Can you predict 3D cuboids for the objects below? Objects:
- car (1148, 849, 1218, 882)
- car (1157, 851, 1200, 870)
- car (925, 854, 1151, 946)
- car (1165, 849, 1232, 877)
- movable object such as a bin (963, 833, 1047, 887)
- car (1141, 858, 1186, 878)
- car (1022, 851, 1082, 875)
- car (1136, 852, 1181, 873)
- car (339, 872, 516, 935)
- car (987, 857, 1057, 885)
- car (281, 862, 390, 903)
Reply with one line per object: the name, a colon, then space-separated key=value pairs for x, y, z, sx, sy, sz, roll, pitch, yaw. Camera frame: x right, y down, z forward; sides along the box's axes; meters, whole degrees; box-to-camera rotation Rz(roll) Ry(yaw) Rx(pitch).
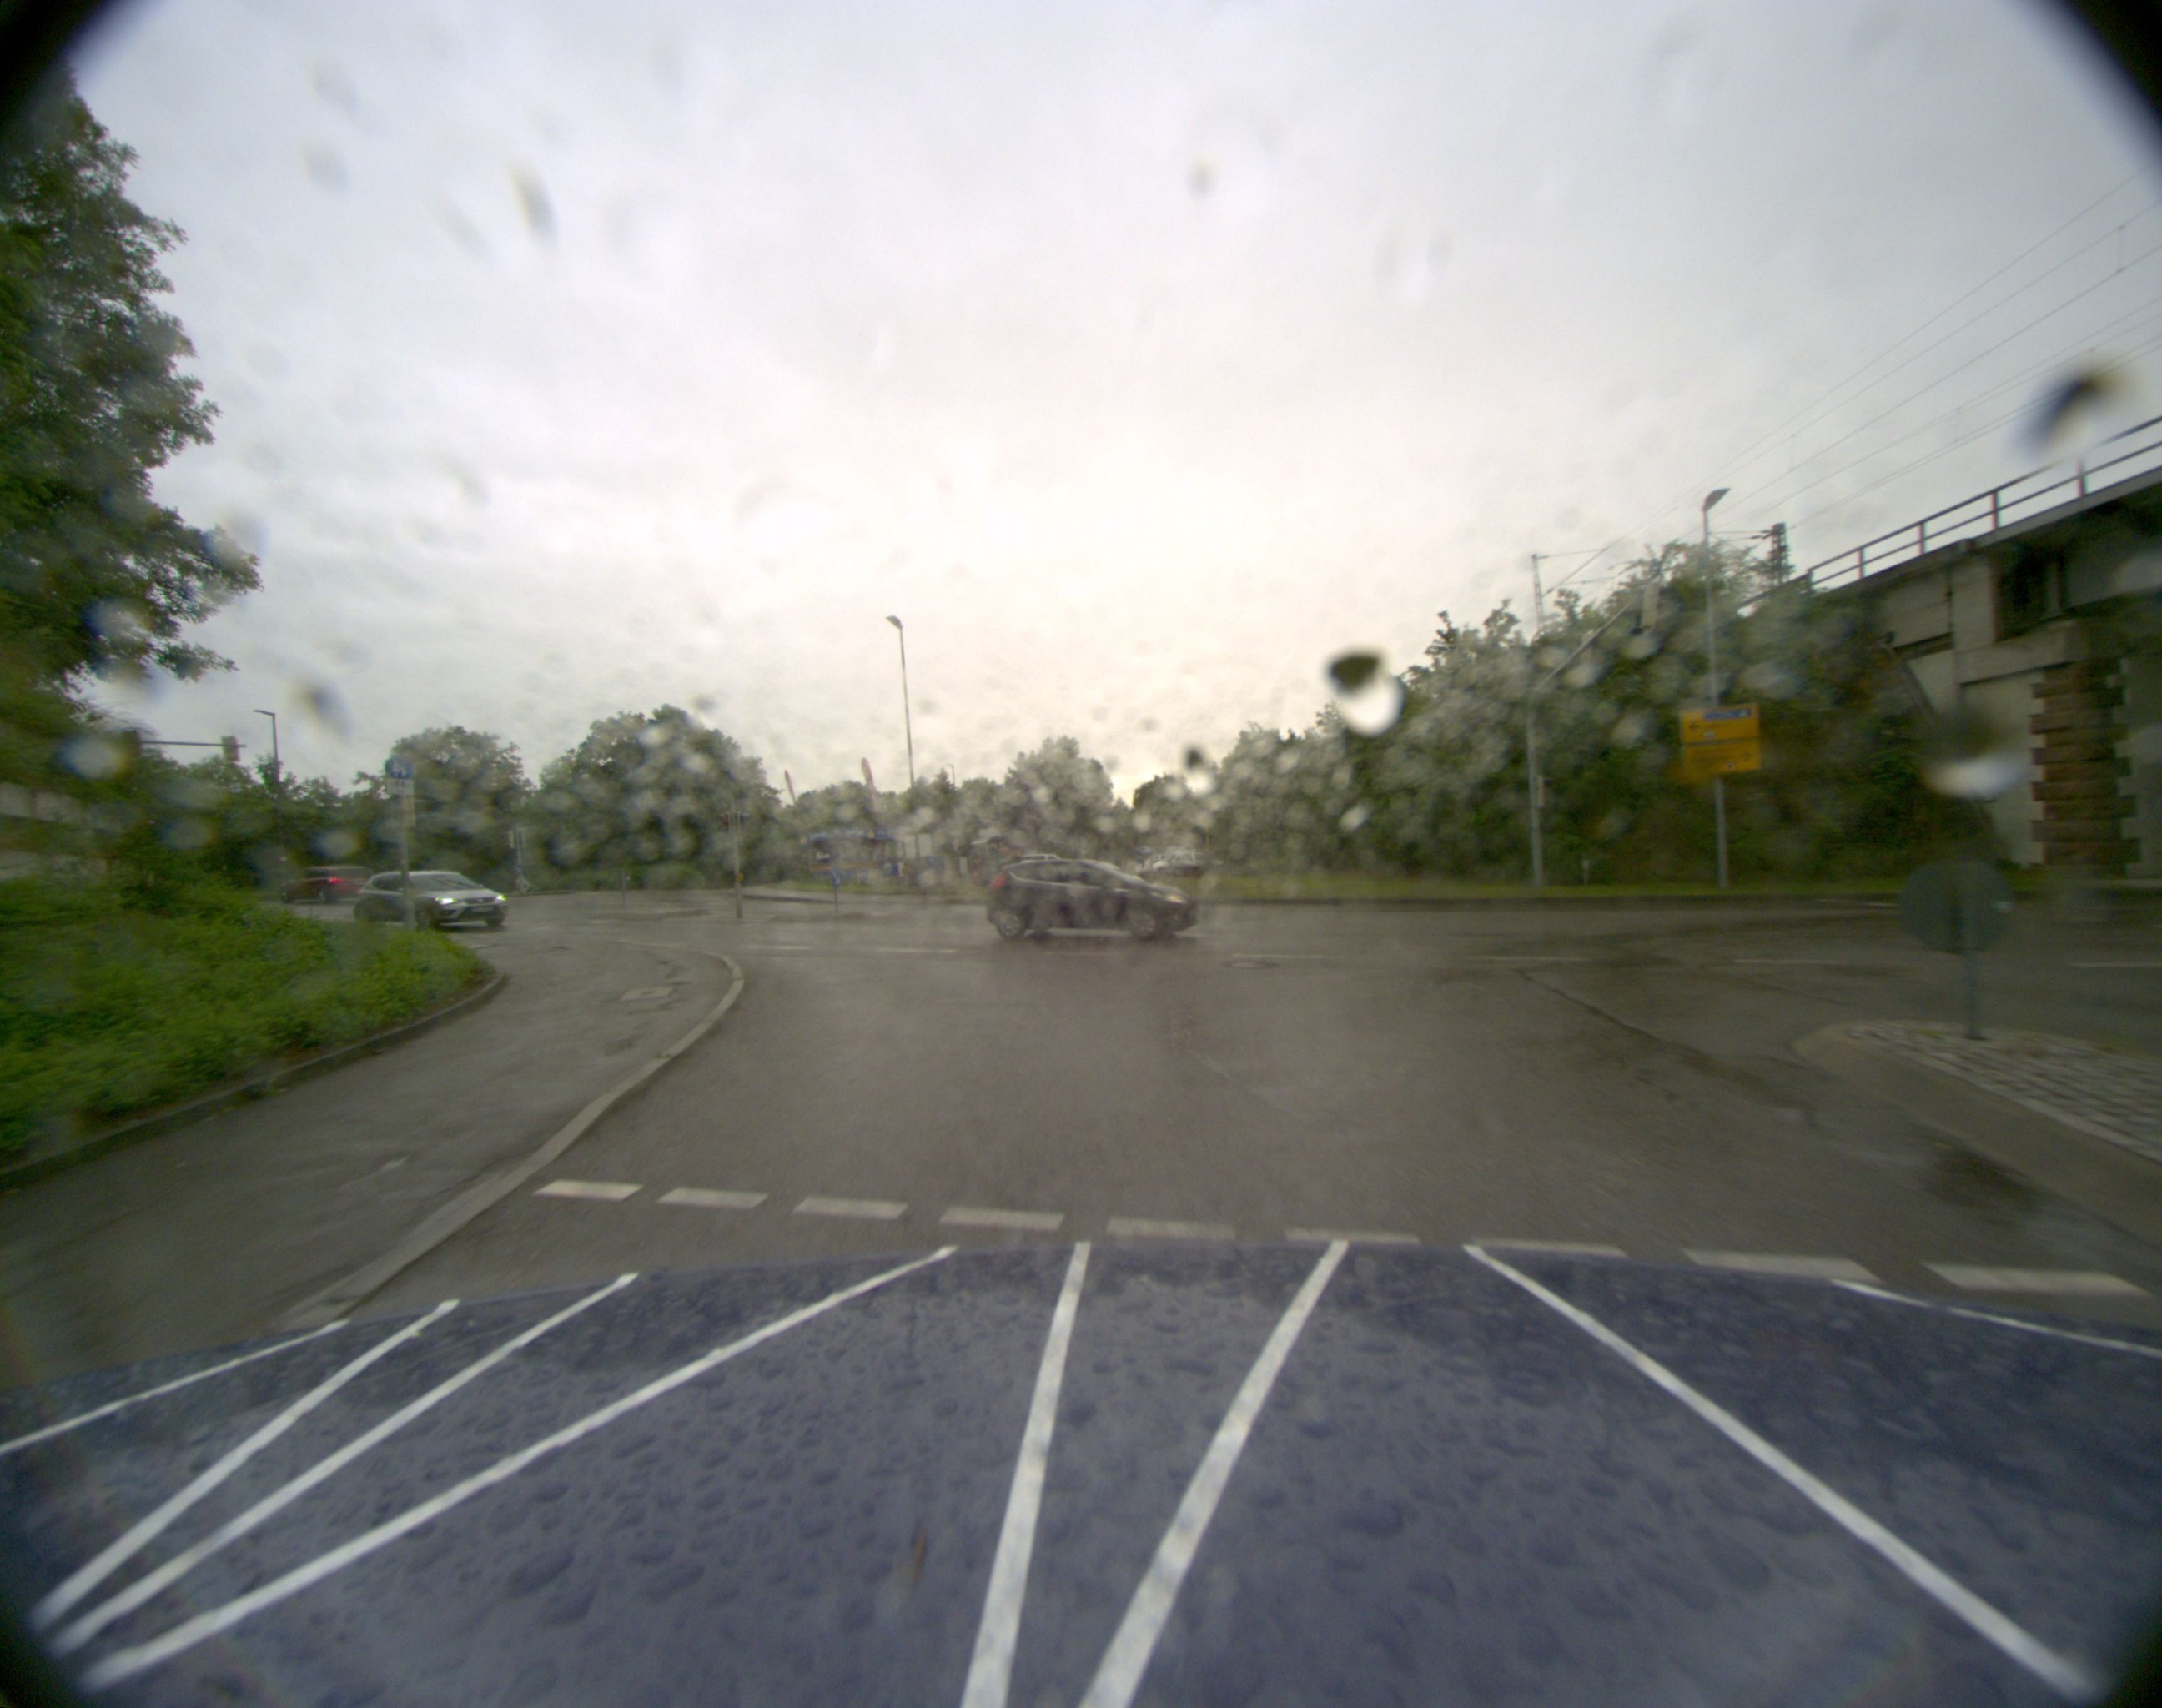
car: x=6.347 y=0.720 z=47.671 sx=4.230 sy=1.968 sz=1.905 roll=-1 pitch=0 yaw=6
car: x=8.249 y=0.541 z=64.408 sx=3.476 sy=1.531 sz=1.448 roll=-1 pitch=0 yaw=4
car: x=-0.788 y=0.837 z=14.390 sx=3.880 sy=1.561 sz=1.685 roll=-1 pitch=0 yaw=19
car: x=6.957 y=0.511 z=45.308 sx=3.820 sy=1.559 sz=1.775 roll=-1 pitch=0 yaw=6
movable object such as a bin: x=-4.135 y=0.353 z=40.496 sx=2.315 sy=2.670 sz=5.691 roll=-1 pitch=-1 yaw=-29
car: x=7.269 y=1.229 z=67.215 sx=3.878 sy=1.619 sz=1.694 roll=-1 pitch=0 yaw=2
car: x=-2.194 y=0.687 z=58.345 sx=4.384 sy=1.755 sz=1.923 roll=-1 pitch=0 yaw=7
car: x=7.114 y=0.780 z=69.748 sx=3.959 sy=1.868 sz=1.694 roll=-1 pitch=0 yaw=2
car: x=-17.198 y=1.260 z=20.003 sx=4.144 sy=1.498 sz=1.685 roll=-1 pitch=0 yaw=20
car: x=-3.544 y=1.012 z=46.168 sx=3.995 sy=1.565 sz=1.671 roll=-1 pitch=0 yaw=6
car: x=-33.520 y=1.278 z=34.158 sx=4.671 sy=1.704 sz=1.906 roll=-1 pitch=0 yaw=24
